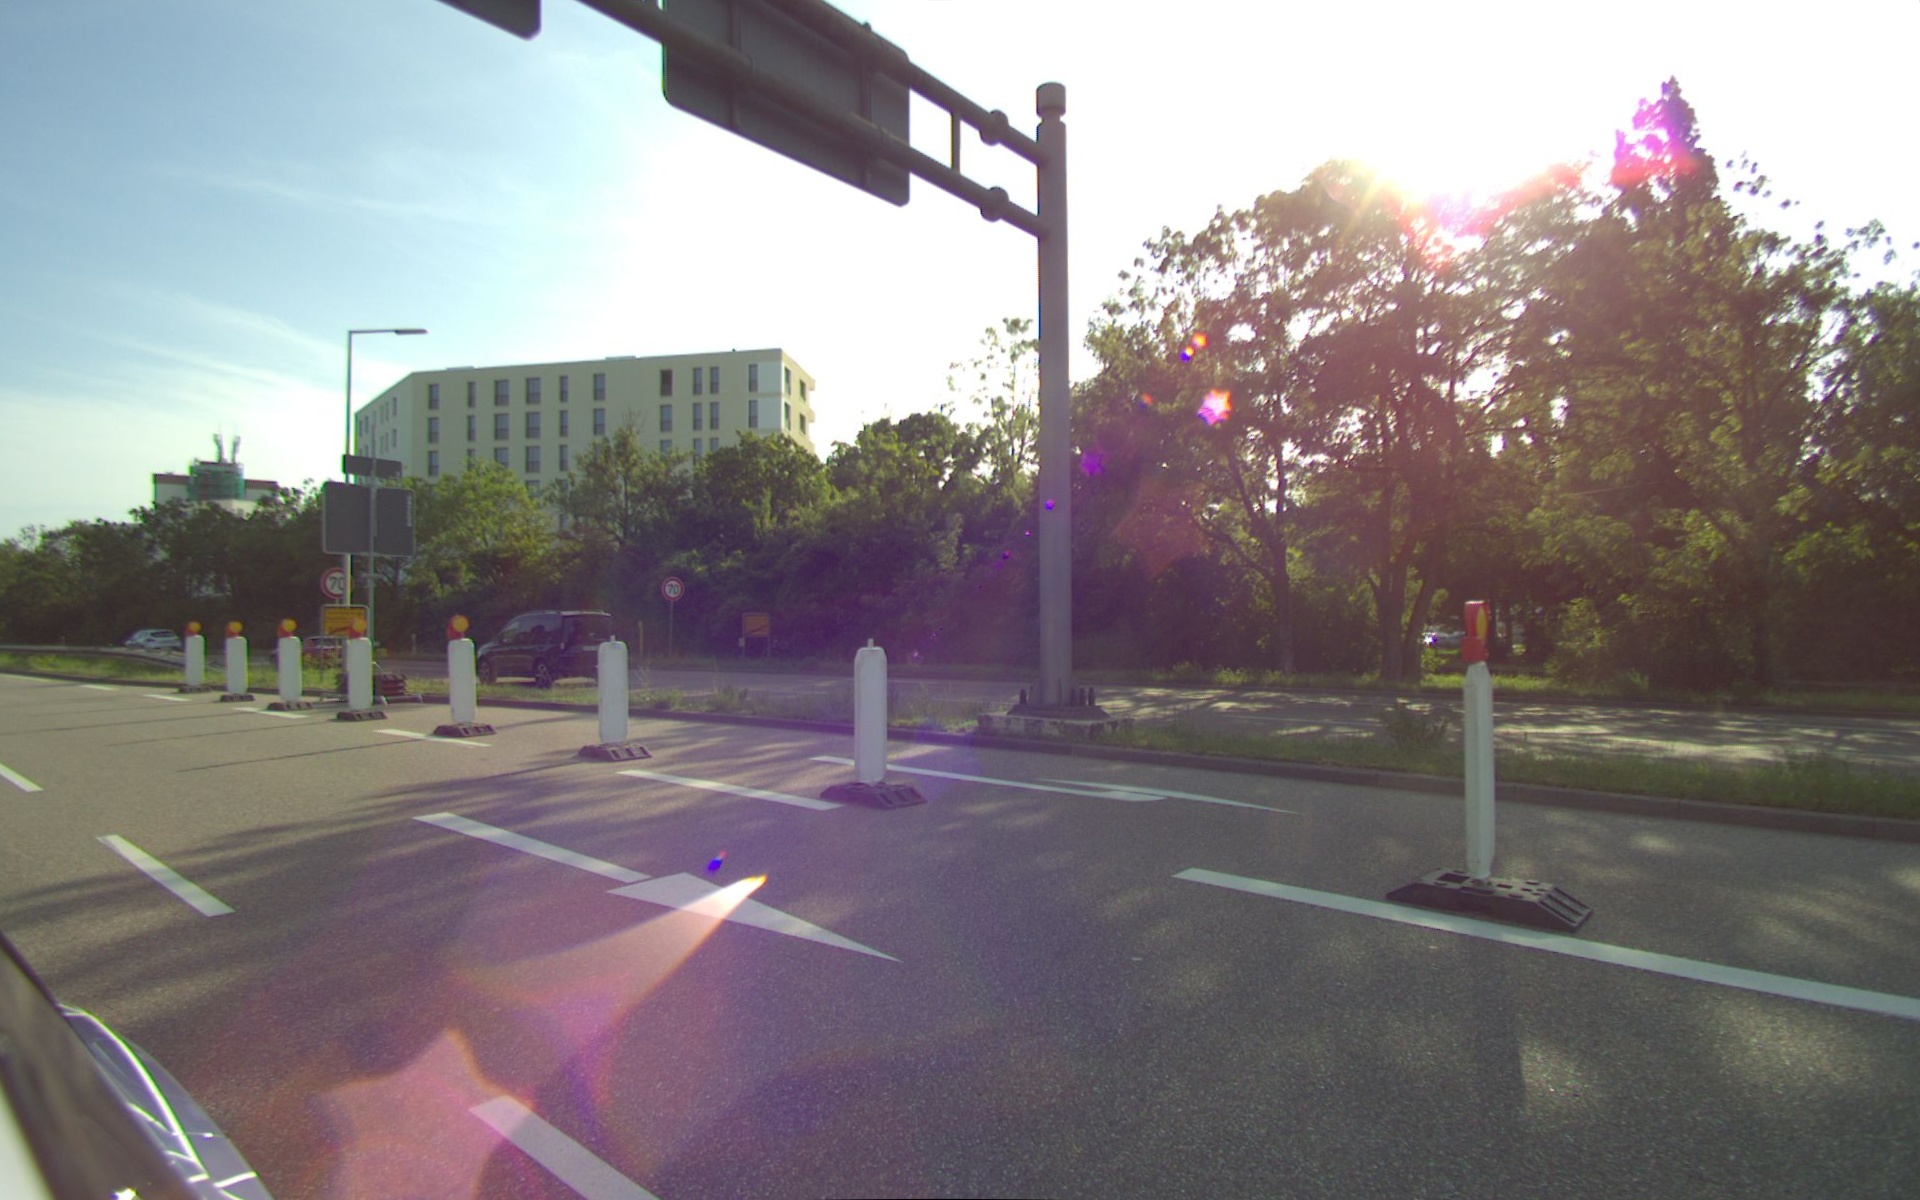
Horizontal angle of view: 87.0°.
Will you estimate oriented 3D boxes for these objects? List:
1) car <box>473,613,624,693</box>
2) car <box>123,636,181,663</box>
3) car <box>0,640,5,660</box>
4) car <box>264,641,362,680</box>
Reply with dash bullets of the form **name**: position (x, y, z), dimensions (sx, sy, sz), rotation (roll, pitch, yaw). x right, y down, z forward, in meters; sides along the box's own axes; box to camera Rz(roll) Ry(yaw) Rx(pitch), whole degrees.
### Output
- **car**: position (-10.281, 1.286, 25.187), dimensions (4.120, 1.820, 1.767), rotation (-2, -2, 40)
- **car**: position (-44.038, 2.658, 55.123), dimensions (4.059, 1.387, 1.624), rotation (-2, -1, 38)
- **car**: position (-70.939, 3.677, 73.544), dimensions (3.933, 1.452, 1.652), rotation (-2, -1, 38)
- **car**: position (-21.145, 1.943, 33.033), dimensions (3.665, 1.166, 1.498), rotation (-2, -1, 36)
